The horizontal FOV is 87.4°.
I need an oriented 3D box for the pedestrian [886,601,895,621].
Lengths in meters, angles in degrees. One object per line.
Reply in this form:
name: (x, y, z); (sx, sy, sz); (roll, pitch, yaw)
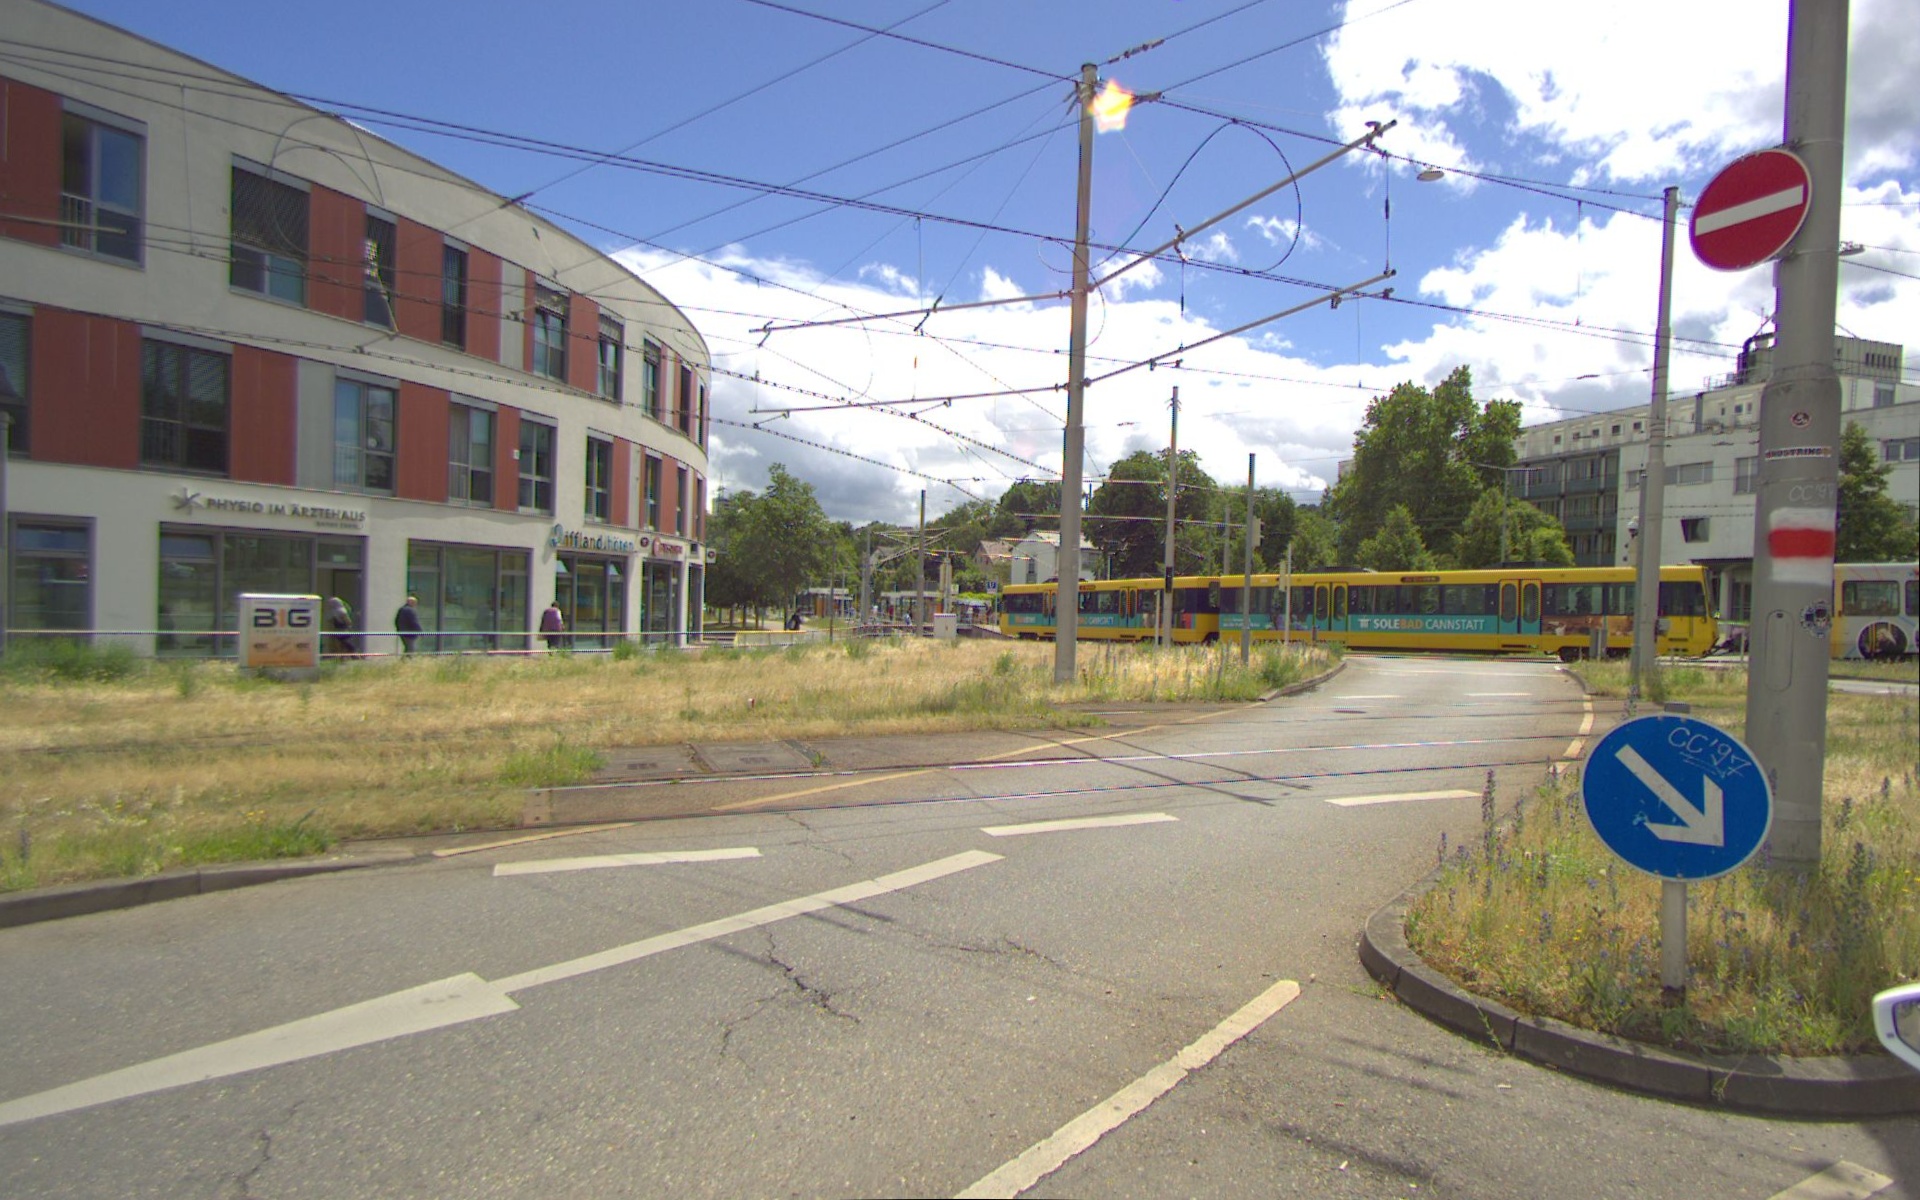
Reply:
pedestrian: (-7.166, 1.109, 103.500); (0.807, 2.040, 0.771); (2, -1, -15)

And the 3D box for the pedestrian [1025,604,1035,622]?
pedestrian: (7.833, 1.453, 112.522); (0.818, 1.891, 0.817); (1, 0, -16)

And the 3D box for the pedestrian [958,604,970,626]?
pedestrian: (0.311, 1.207, 81.759); (0.824, 1.777, 0.795); (1, 0, -16)

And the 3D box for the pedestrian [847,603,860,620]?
pedestrian: (-12.864, 1.362, 121.407); (1.241, 2.040, 1.121); (2, -1, -19)

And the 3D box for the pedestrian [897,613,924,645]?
pedestrian: (-2.601, 1.490, 52.360); (1.025, 1.646, 0.976); (2, -2, -32)

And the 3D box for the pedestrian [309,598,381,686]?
pedestrian: (-14.321, 0.967, 23.408); (0.849, 1.994, 1.114); (1, -1, 29)

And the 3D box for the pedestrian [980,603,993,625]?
pedestrian: (2.092, 1.123, 79.679); (0.824, 1.714, 0.616); (1, 0, -16)

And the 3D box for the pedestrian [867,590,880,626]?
pedestrian: (-14.933, 1.384, 173.215); (1.964, 5.998, 2.368); (2, -1, -9)

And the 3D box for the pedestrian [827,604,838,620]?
pedestrian: (-17.044, 1.602, 133.857); (1.241, 2.040, 1.121); (2, -1, -19)

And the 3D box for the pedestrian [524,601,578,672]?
pedestrian: (-11.771, 1.048, 28.945); (0.849, 1.994, 1.104); (1, -1, 30)

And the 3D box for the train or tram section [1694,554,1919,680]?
train or tram section: (35.891, 0.685, 31.847); (20.222, 3.930, 3.763); (1, -1, 17)

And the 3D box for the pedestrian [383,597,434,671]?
pedestrian: (-12.167, 0.739, 22.155); (0.722, 1.601, 0.690); (0, -1, 30)

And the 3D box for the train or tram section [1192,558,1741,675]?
train or tram section: (19.464, 0.600, 41.319); (19.850, 3.880, 3.743); (0, -2, 41)

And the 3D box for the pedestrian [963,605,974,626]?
pedestrian: (0.729, 1.273, 82.491); (0.744, 1.707, 0.671); (1, 0, -16)

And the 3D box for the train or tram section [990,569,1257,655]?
train or tram section: (8.077, 0.714, 55.464); (3.716, 3.970, 18.752); (2, -2, -29)

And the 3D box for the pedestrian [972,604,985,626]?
pedestrian: (1.484, 1.228, 81.049); (0.824, 1.755, 0.795); (1, 0, -16)

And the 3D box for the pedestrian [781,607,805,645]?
pedestrian: (-7.464, 1.166, 44.962); (0.847, 1.646, 0.733); (1, -1, 7)
